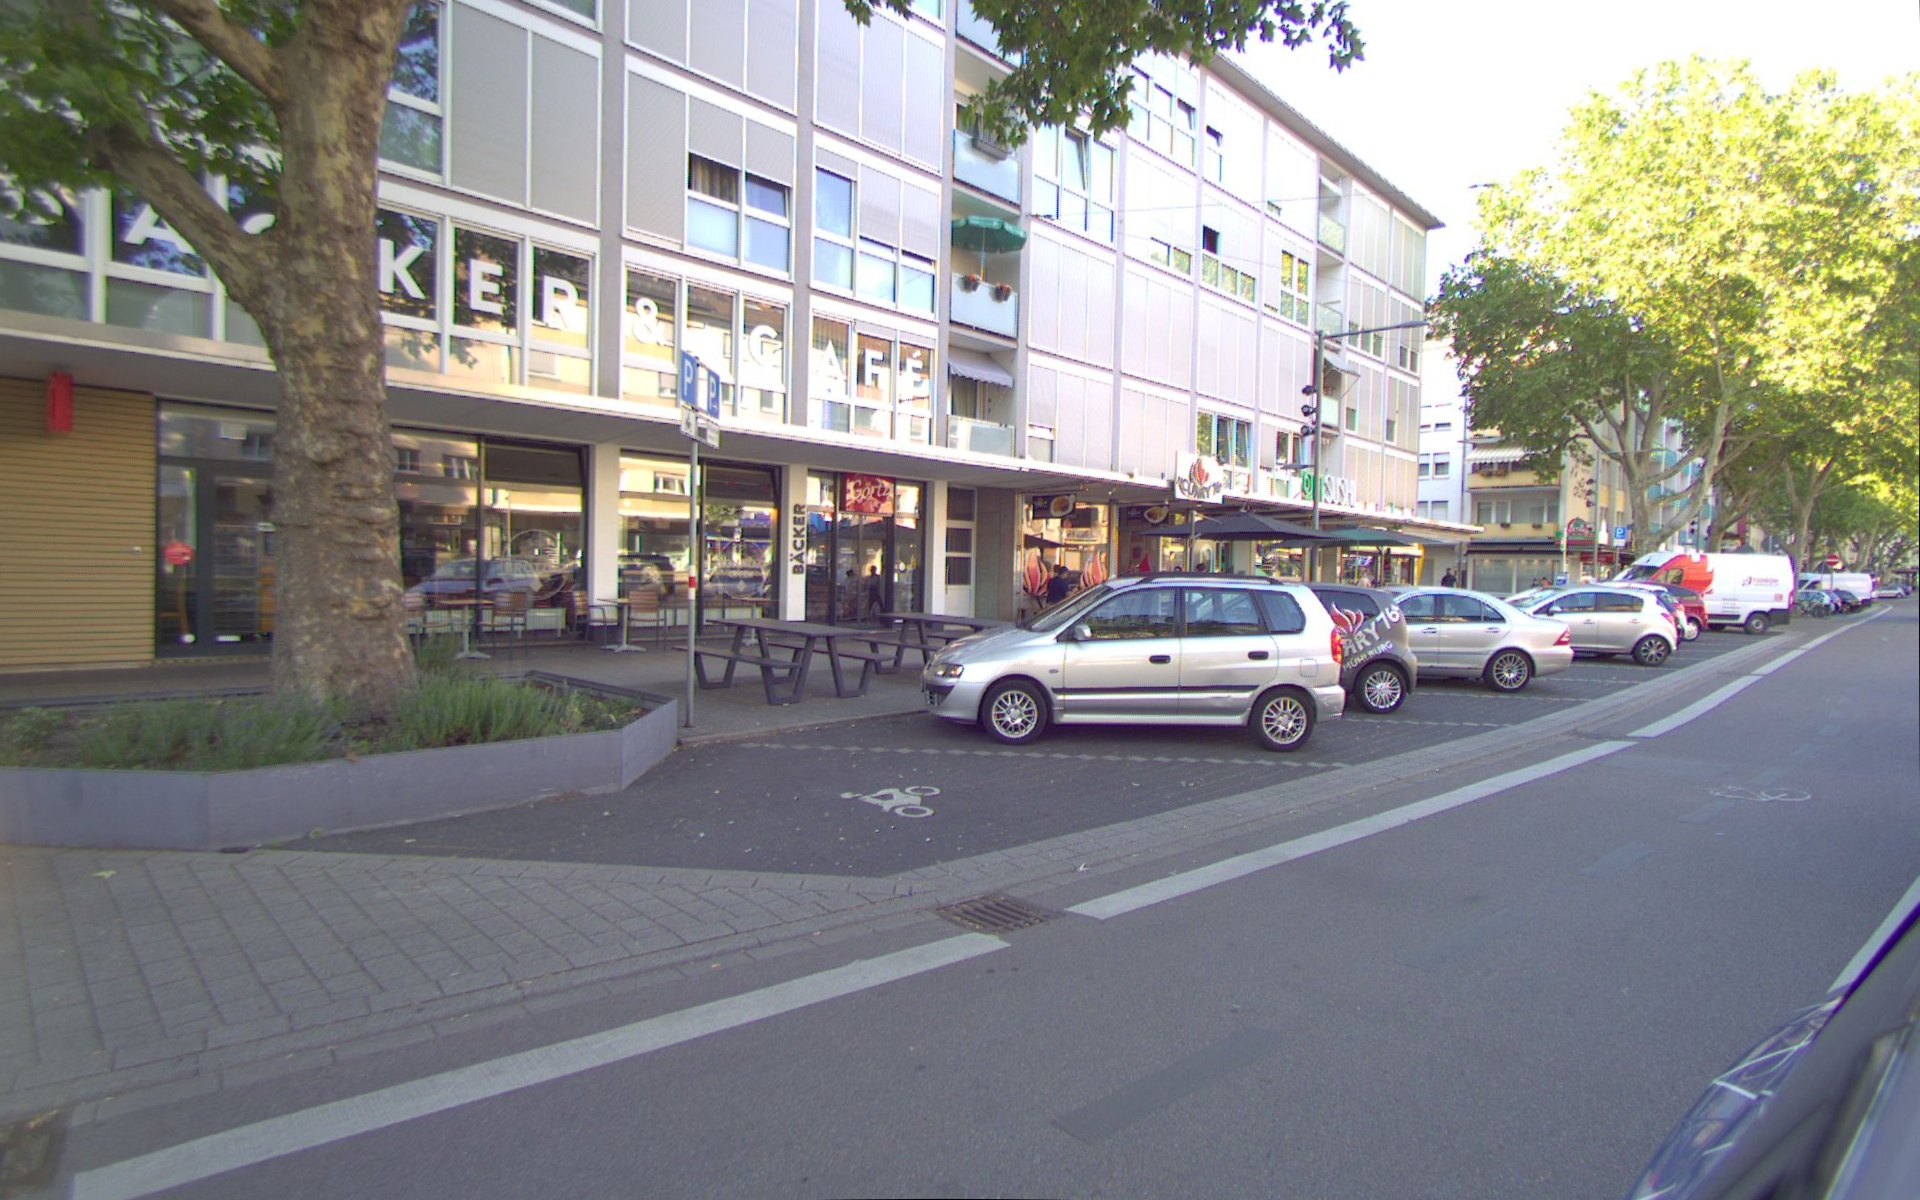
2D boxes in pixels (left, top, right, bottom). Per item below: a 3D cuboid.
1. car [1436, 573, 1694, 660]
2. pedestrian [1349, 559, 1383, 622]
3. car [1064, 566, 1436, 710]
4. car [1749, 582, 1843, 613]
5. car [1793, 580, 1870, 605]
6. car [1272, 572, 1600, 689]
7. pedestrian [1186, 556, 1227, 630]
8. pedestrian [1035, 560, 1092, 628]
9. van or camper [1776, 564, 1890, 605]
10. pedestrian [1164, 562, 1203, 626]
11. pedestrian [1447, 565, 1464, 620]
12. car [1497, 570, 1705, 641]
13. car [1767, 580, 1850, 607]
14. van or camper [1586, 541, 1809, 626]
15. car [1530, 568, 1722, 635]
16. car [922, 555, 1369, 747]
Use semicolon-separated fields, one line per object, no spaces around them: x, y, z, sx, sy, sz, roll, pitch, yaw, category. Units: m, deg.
11.738;0.283;19.861;3.929;1.453;1.659;2;3;5;car
10.705;-0.257;26.671;0.537;1.610;0.676;5;4;44;pedestrian
3.385;0.406;12.343;3.921;1.525;1.811;1;2;-3;car
41.869;-0.154;50.739;3.271;1.363;1.530;2;3;5;car
53.819;-0.479;62.536;3.271;1.363;1.530;2;3;5;car
6.817;0.402;14.812;3.926;1.453;1.660;2;3;2;car
5.515;-0.159;22.660;0.537;1.610;0.676;5;4;44;pedestrian
2.193;-0.137;21.427;0.945;1.379;0.750;0;2;-41;pedestrian
56.112;-1.041;65.148;5.363;2.499;1.999;1;2;3;van or camper
5.101;-0.143;23.084;0.537;1.417;0.676;5;4;44;pedestrian
18.597;-0.288;37.987;0.547;2.039;0.571;0;0;31;pedestrian
15.744;0.107;25.019;3.929;1.541;1.659;2;3;5;car
48.446;-0.406;57.853;3.271;1.363;1.530;2;3;5;car
23.320;-0.548;32.194;5.366;2.499;1.998;1;2;5;van or camper
17.889;0.012;27.343;3.929;1.582;1.659;2;3;5;car
1.630;0.430;9.886;3.921;1.626;1.811;1;2;-3;car
